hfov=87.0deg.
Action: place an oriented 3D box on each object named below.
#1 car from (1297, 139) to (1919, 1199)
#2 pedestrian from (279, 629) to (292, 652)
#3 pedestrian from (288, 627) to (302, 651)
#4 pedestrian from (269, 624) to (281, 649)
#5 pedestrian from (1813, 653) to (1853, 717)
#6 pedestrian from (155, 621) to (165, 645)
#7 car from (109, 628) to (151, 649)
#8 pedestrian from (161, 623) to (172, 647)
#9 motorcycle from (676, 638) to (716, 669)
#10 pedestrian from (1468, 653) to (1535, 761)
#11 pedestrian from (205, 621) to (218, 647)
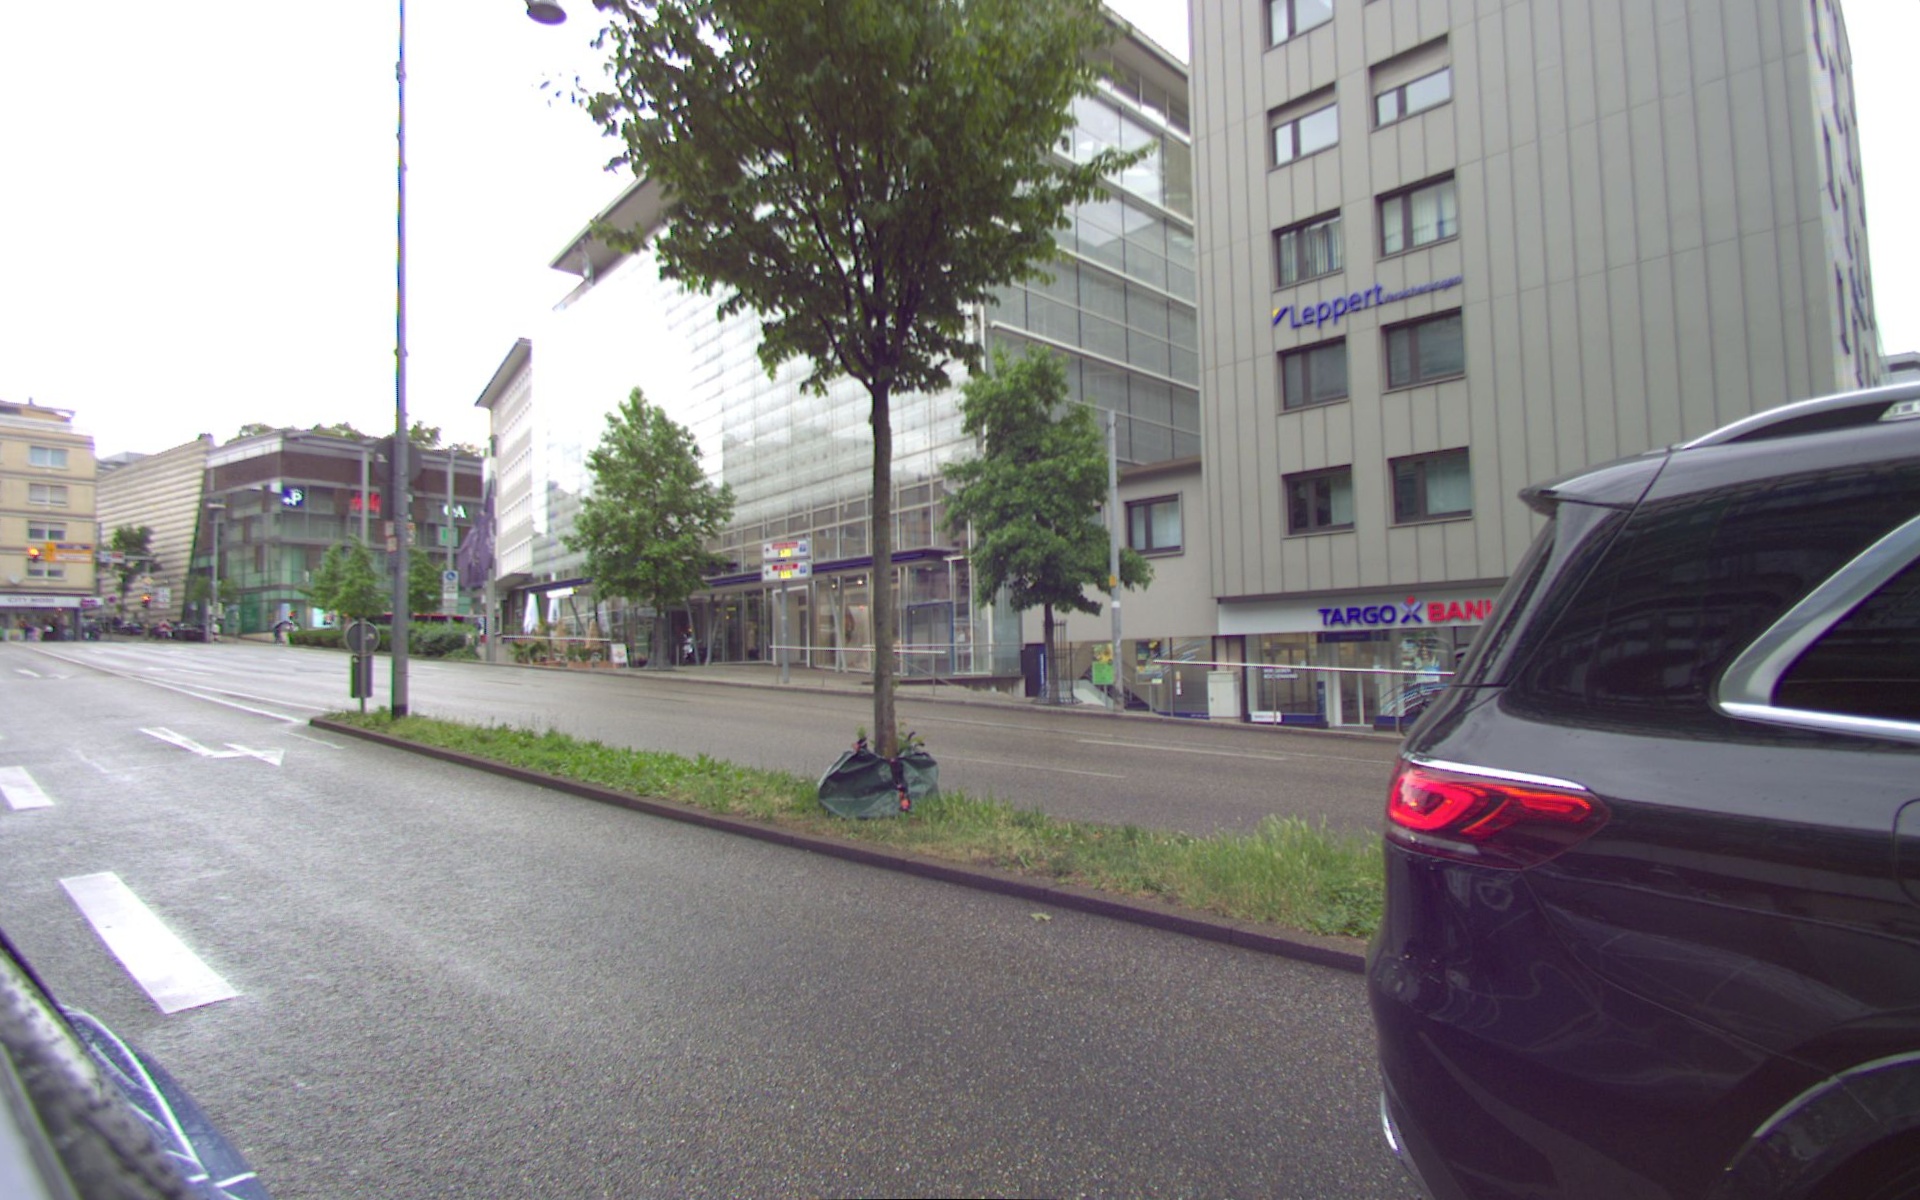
[{"bbox_3d":[3.104,0.384,0.802,5.069,1.884,1.892,0,0,40],"label":"car"},{"bbox_3d":[-48.225,2.885,72.334,0.602,1.642,0.625,-1,-3,42],"label":"pedestrian"},{"bbox_3d":[-47.153,2.755,71.747,0.603,1.642,0.625,-1,-3,44],"label":"pedestrian"},{"bbox_3d":[-50.037,2.625,73.875,0.618,1.788,0.689,0,0,-45],"label":"pedestrian"},{"bbox_3d":[24.345,2.353,28.219,0.724,1.710,0.781,0,-3,34],"label":"pedestrian"},{"bbox_3d":[-56.011,2.331,70.836,0.602,1.642,0.422,-1,-3,44],"label":"pedestrian"},{"bbox_3d":[-83.413,3.872,101.696,4.575,2.029,1.977,0,-2,34],"label":"car"},{"bbox_3d":[-54.192,2.409,69.117,0.603,1.642,0.422,-1,-3,45],"label":"pedestrian"},{"bbox_3d":[-12.023,2.429,46.045,0.620,1.336,1.685,-1,-3,41],"label":"motorcycle"},{"bbox_3d":[8.831,1.716,16.515,0.626,1.649,0.791,0,0,-41],"label":"pedestrian"},{"bbox_3d":[-53.236,2.397,71.979,0.617,1.788,0.689,0,0,-43],"label":"pedestrian"}]
